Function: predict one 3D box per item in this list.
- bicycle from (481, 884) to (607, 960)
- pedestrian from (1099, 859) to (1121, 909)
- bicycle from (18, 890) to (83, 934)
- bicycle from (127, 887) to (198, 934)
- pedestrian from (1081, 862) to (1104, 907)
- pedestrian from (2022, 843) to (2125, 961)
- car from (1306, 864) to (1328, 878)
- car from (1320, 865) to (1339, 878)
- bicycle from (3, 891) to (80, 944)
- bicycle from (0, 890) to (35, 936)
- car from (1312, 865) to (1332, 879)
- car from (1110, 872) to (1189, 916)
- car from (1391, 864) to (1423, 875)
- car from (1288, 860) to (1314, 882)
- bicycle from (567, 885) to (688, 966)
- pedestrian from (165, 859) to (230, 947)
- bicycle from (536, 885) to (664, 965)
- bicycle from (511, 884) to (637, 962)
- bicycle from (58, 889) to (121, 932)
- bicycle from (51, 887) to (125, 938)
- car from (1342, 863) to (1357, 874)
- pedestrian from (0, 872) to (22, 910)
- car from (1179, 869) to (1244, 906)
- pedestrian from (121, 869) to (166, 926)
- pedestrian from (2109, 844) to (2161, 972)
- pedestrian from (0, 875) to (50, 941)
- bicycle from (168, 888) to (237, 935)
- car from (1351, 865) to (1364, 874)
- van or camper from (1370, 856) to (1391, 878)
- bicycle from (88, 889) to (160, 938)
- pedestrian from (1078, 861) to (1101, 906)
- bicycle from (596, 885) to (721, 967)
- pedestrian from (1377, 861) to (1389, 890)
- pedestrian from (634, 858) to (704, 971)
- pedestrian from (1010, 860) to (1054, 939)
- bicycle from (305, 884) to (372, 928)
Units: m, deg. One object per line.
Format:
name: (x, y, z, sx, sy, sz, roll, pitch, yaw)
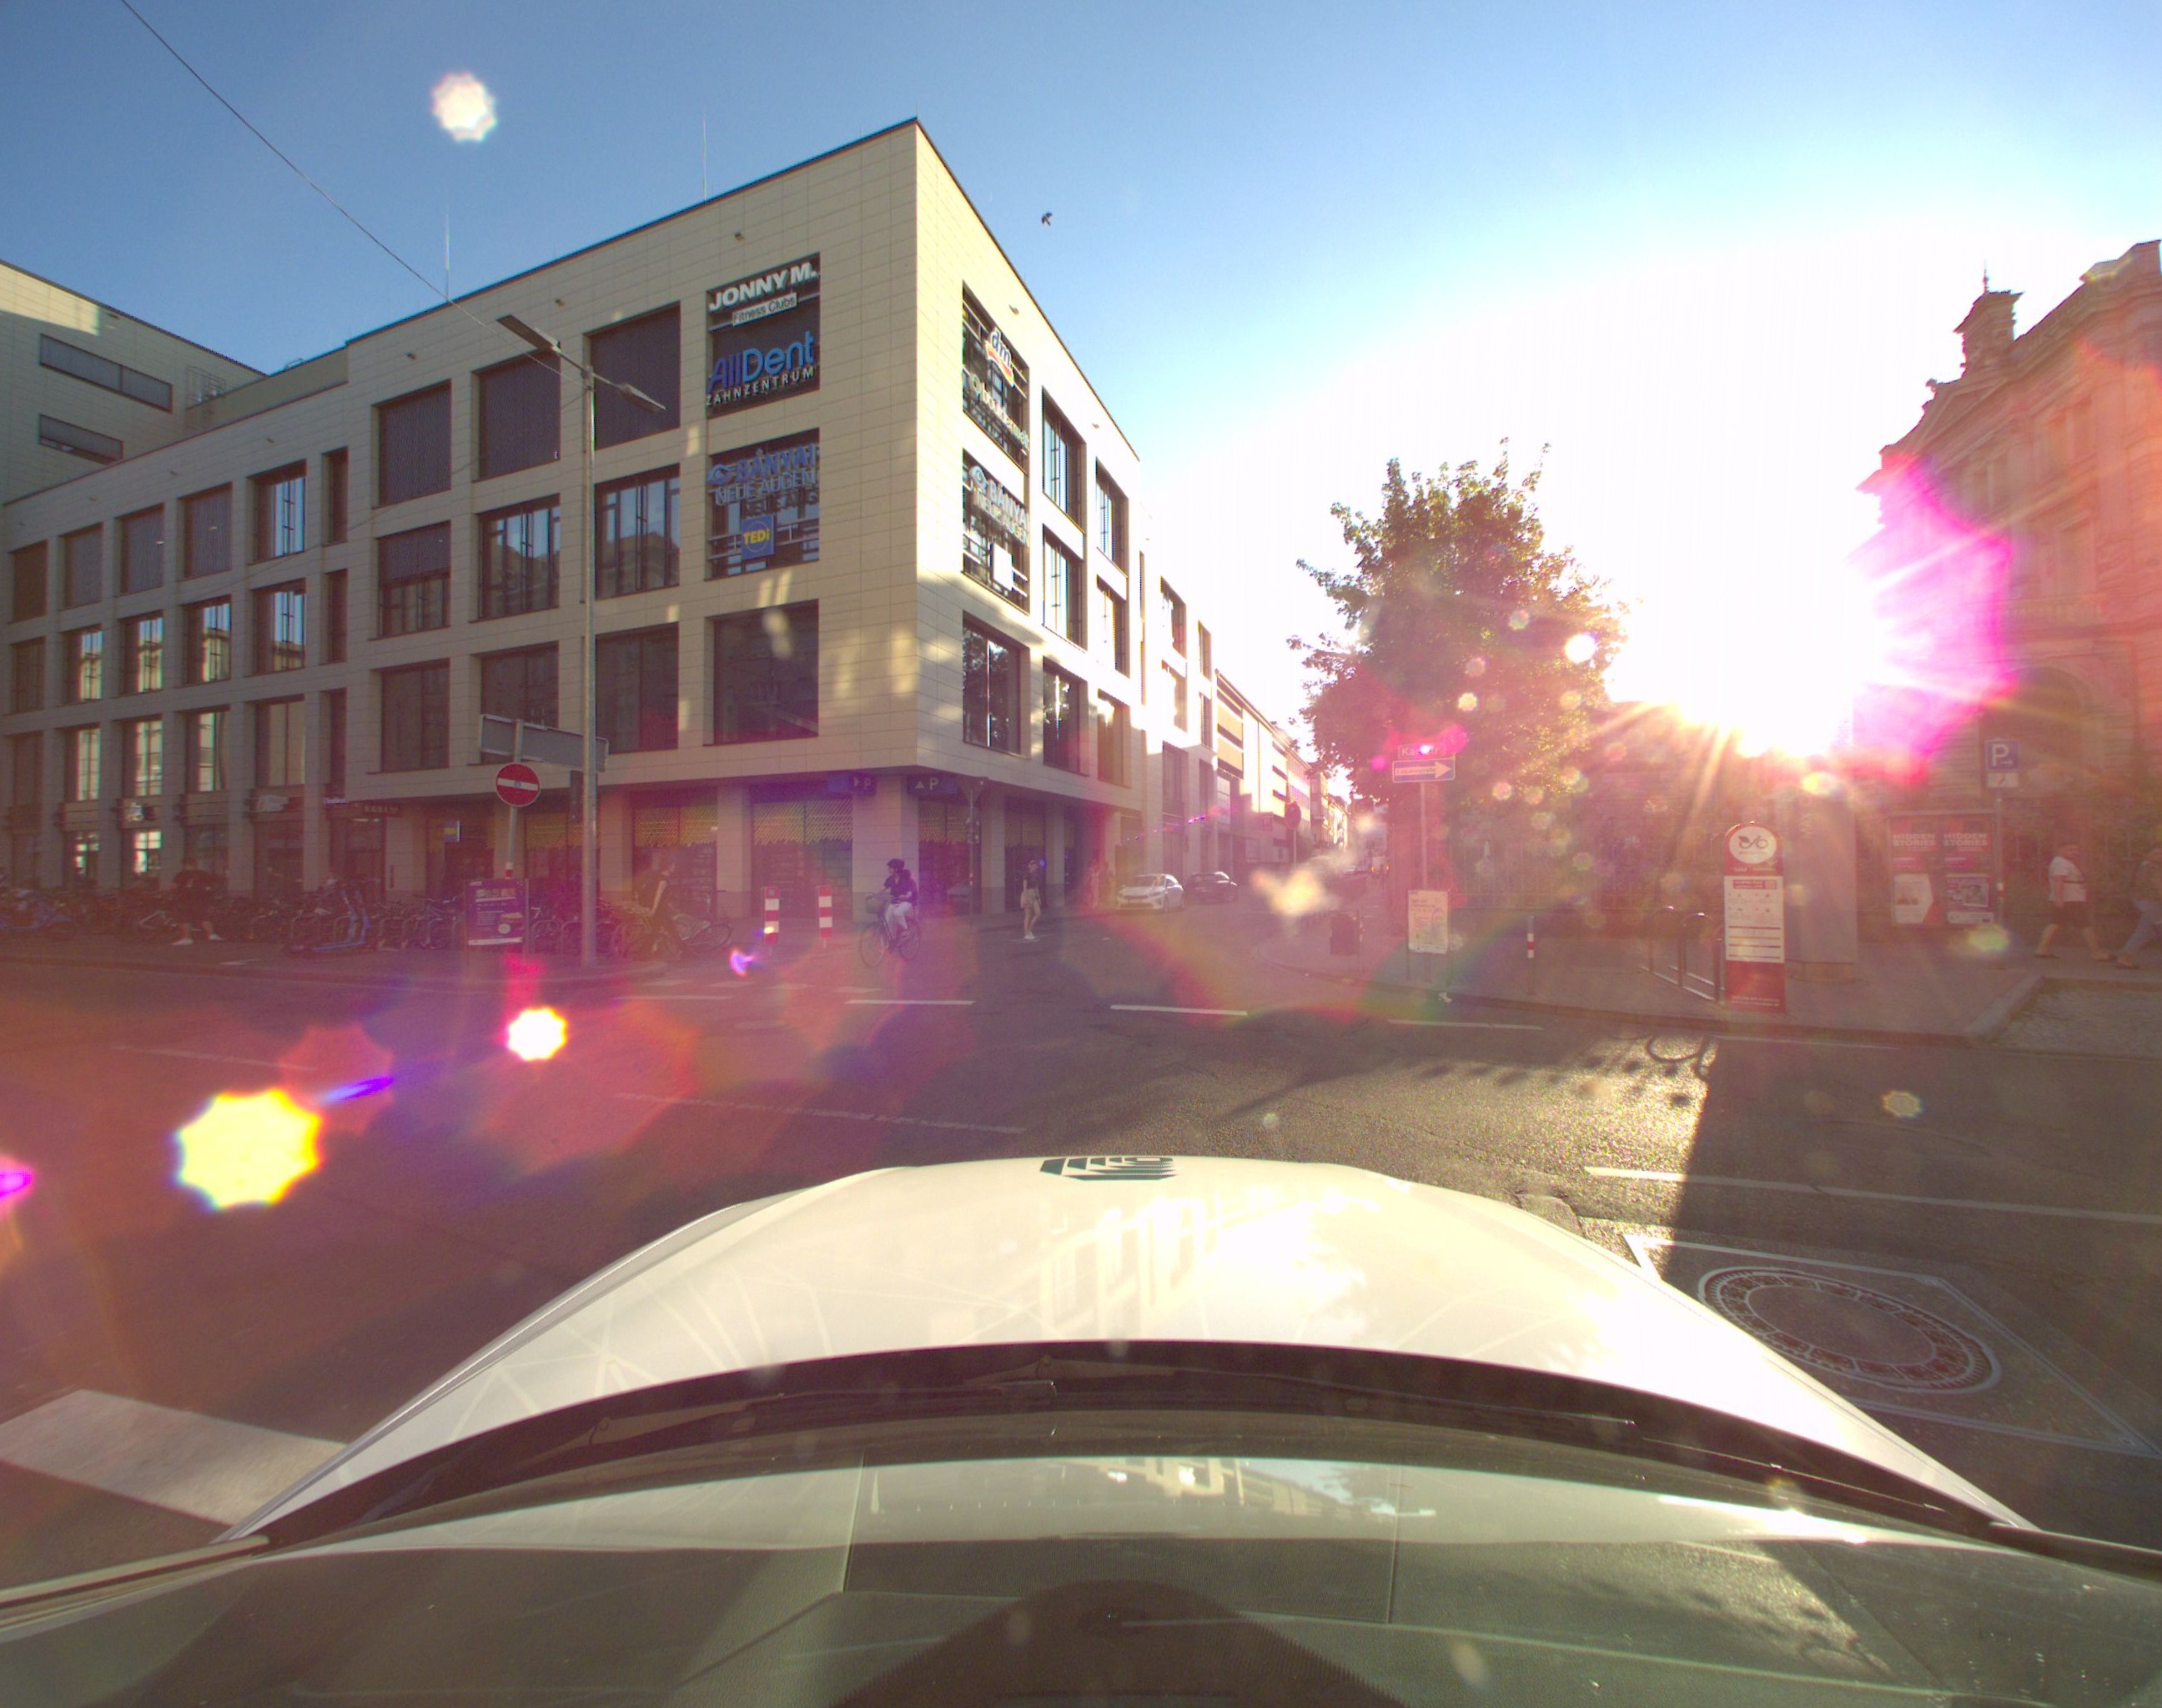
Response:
bicycle: (-9.687, 1.189, 14.798, 0.507, 1.255, 1.988, -1, -2, 19)
pedestrian: (1.076, 1.103, 30.143, 0.666, 1.837, 0.650, -1, -1, 19)
bicycle: (-30.330, 1.692, 23.961, 1.956, 1.255, 0.516, -1, -2, 18)
bicycle: (-25.037, 1.526, 22.199, 1.956, 1.255, 0.516, -1, -2, 18)
pedestrian: (0.429, 1.136, 30.455, 0.666, 1.675, 0.650, -1, -1, 19)
pedestrian: (14.343, 0.674, 11.787, 0.699, 1.670, 0.644, -1, 0, 8)
car: (24.567, 1.742, 84.810, 1.867, 1.453, 4.020, -1, -1, 20)
car: (29.673, 2.047, 97.150, 1.867, 1.453, 4.020, -1, -1, 20)
bicycle: (-25.814, 1.551, 20.227, 1.956, 1.255, 0.516, -1, -2, 18)
bicycle: (-30.742, 1.672, 23.190, 1.956, 1.255, 0.516, -1, -2, 18)
car: (26.519, 1.968, 89.476, 1.867, 1.453, 4.020, -1, -1, 20)
car: (2.593, 1.422, 29.857, 1.762, 1.453, 4.252, -1, -1, 20)
car: (44.967, 2.151, 112.358, 3.952, 1.420, 1.665, -1, -2, 22)
car: (20.112, 1.527, 74.276, 1.868, 1.912, 4.771, -1, -1, 20)
bicycle: (-7.708, 1.174, 13.969, 0.507, 1.255, 1.988, -1, -2, 18)
pedestrian: (-17.581, 0.957, 16.214, 0.636, 1.695, 0.688, -1, -1, 24)
bicycle: (-8.296, 1.182, 14.160, 0.507, 1.255, 1.989, -1, -2, 22)
bicycle: (-8.966, 1.184, 14.502, 0.507, 1.255, 1.988, -1, -2, 20)
bicycle: (-30.099, 1.700, 24.719, 1.956, 1.255, 0.516, -1, -2, 18)
bicycle: (-25.541, 1.480, 20.948, 1.956, 1.255, 0.516, -1, -2, 18)
car: (42.767, 2.366, 129.668, 1.976, 1.684, 4.021, -1, -2, 22)
pedestrian: (-48.528, 1.650, 36.773, 0.637, 1.695, 0.688, -1, -1, 20)
car: (6.188, 1.532, 38.302, 1.866, 1.598, 4.715, -1, -1, 24)
pedestrian: (-28.407, 1.298, 24.679, 0.637, 1.695, 0.688, -1, -1, 20)
pedestrian: (14.607, 0.704, 10.967, 0.699, 1.670, 0.644, -1, 0, 8)
pedestrian: (-28.210, 1.421, 21.722, 0.637, 1.695, 0.688, -1, -1, 20)
bicycle: (-24.653, 1.602, 22.845, 1.956, 1.255, 0.516, -1, -2, 18)
car: (51.111, 2.866, 150.665, 1.976, 1.684, 4.021, -1, -2, 22)
van or camper: (38.022, 1.674, 103.321, 2.238, 2.607, 5.138, -6, -3, 22)
bicycle: (-25.346, 1.550, 21.562, 1.956, 1.255, 0.516, -1, -2, 18)
pedestrian: (0.342, 1.137, 31.623, 0.666, 1.745, 0.651, -1, -1, 21)
bicycle: (-7.093, 1.160, 13.813, 0.576, 1.255, 2.053, -1, -2, 18)
pedestrian: (17.180, 1.226, 46.296, 0.480, 1.658, 0.621, -3, -2, 14)
pedestrian: (-6.258, 0.894, 12.412, 0.872, 1.658, 0.614, 0, -1, -21)
pedestrian: (-1.106, 0.995, 18.201, 0.640, 1.723, 0.836, 0, -1, -34)
bicycle: (-22.068, 1.534, 24.213, 1.956, 1.255, 0.615, -1, -2, 20)
